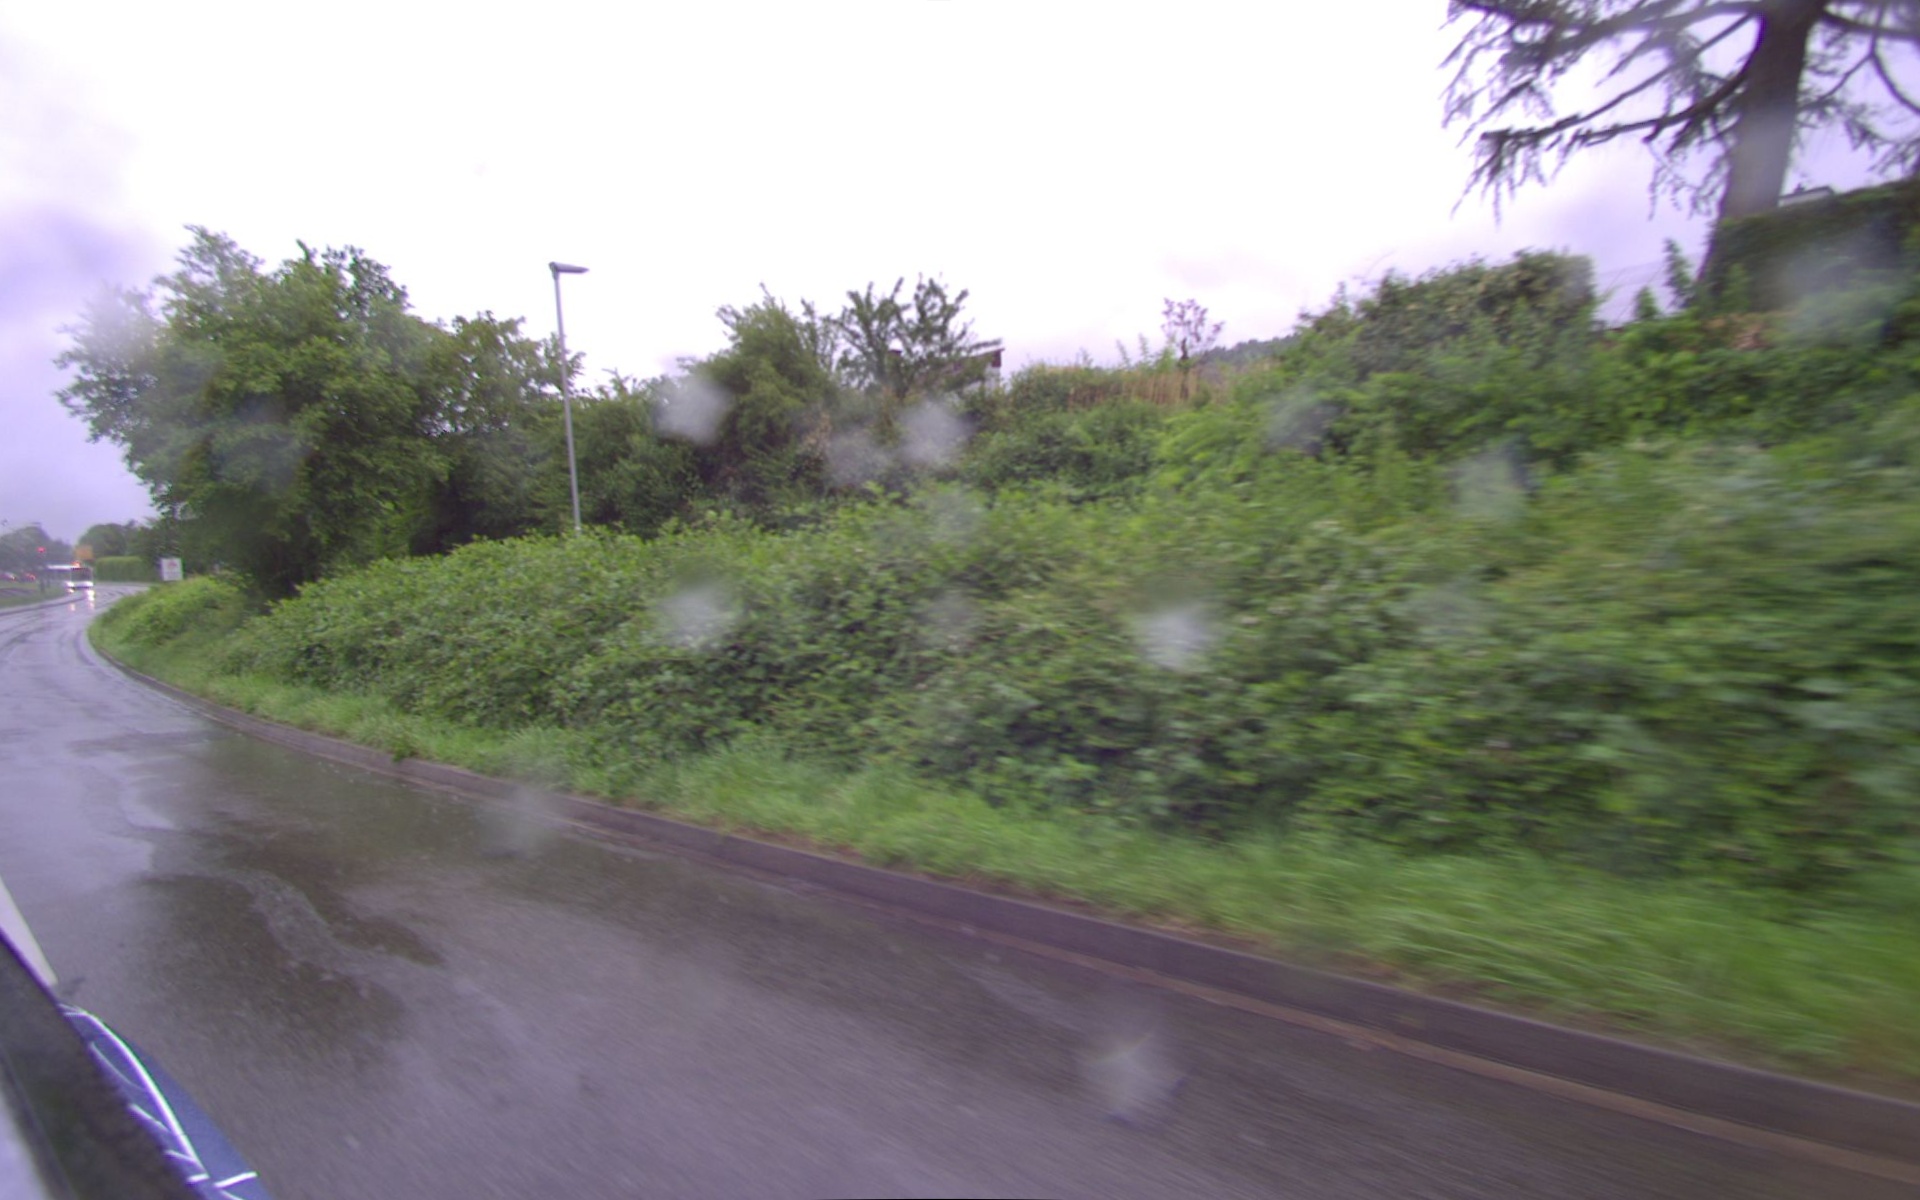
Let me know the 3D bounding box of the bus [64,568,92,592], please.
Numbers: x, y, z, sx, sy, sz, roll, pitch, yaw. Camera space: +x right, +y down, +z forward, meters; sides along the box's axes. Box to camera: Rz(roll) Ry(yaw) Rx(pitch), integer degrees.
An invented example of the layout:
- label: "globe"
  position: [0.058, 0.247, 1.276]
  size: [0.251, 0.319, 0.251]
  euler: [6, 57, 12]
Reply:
- label: "bus"
  position: [-125.091, -2.884, 143.578]
  size: [2.636, 3.099, 10.013]
  euler: [-3, 4, -39]
